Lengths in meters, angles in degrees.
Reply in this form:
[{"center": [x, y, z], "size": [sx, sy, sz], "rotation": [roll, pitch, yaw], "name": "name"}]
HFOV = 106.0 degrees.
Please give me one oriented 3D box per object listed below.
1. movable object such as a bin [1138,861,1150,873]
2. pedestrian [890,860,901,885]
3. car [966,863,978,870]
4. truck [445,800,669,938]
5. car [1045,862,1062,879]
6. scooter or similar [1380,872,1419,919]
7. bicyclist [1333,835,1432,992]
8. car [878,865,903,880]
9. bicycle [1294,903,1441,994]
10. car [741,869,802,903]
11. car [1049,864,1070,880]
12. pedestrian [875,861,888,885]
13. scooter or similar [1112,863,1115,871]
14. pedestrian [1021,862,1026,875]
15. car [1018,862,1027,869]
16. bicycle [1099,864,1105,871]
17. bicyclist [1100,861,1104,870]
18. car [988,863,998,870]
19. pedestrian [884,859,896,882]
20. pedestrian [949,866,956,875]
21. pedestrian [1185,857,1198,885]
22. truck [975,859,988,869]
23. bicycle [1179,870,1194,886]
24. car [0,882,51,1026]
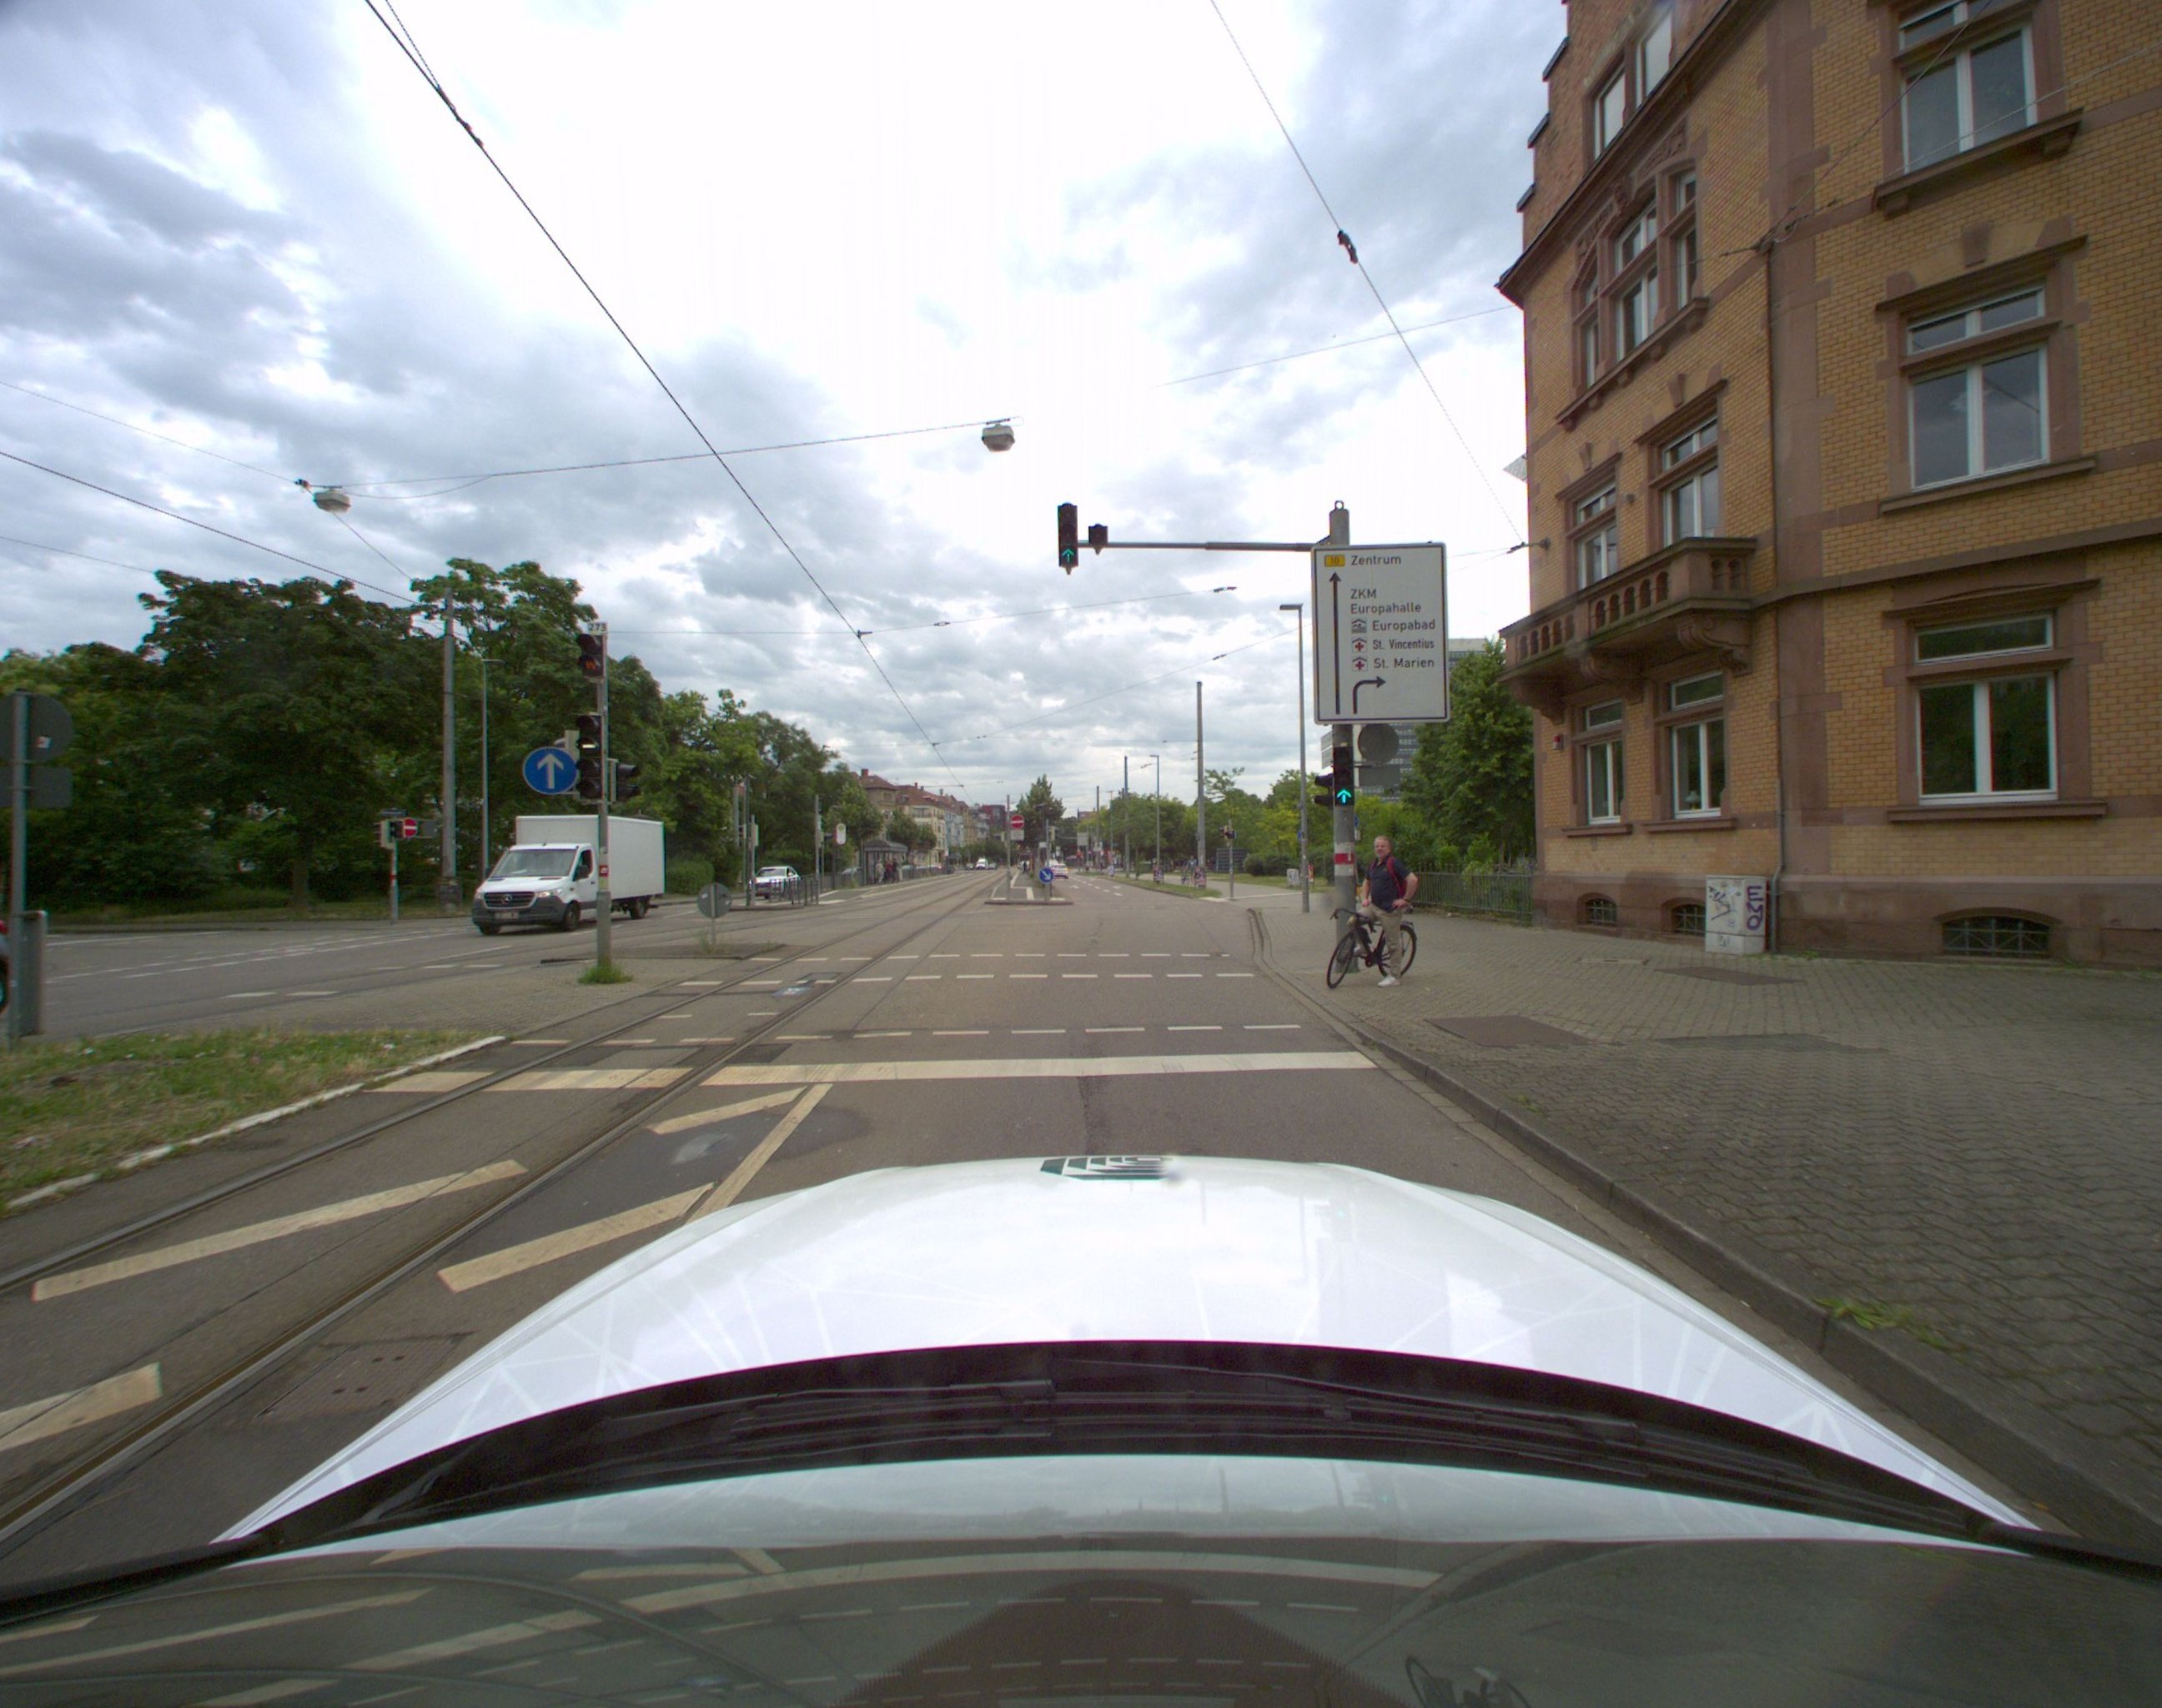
[{"center": [7.443, 1.580, 95.859], "size": [1.279, 1.390, 1.157], "rotation": [0, -1, -4], "name": "movable object such as a bin"}, {"center": [-12.670, 1.253, 55.671], "size": [0.700, 1.715, 0.696], "rotation": [-1, -1, -13], "name": "pedestrian"}, {"center": [-22.346, 2.572, 166.510], "size": [1.763, 1.493, 3.889], "rotation": [-1, -1, 2], "name": "car"}, {"center": [-13.864, 0.391, 22.369], "size": [2.182, 3.157, 7.313], "rotation": [0, -1, -7], "name": "truck"}, {"center": [-3.322, 1.929, 98.268], "size": [1.779, 1.962, 4.375], "rotation": [0, -1, -5], "name": "car"}, {"center": [8.069, 1.032, 20.645], "size": [0.375, 1.141, 1.196], "rotation": [-1, -1, -7], "name": "scooter or similar"}, {"center": [3.645, 0.683, 9.866], "size": [0.685, 1.795, 0.881], "rotation": [0, -1, -36], "name": "bicyclist"}, {"center": [-18.669, 1.813, 80.082], "size": [1.767, 1.493, 3.881], "rotation": [0, -1, -4], "name": "car"}, {"center": [3.538, 1.115, 10.010], "size": [1.876, 0.924, 0.788], "rotation": [0, -1, -37], "name": "bicycle"}, {"center": [-15.829, 1.585, 41.868], "size": [1.768, 1.639, 4.527], "rotation": [0, -1, -6], "name": "car"}, {"center": [-2.124, 1.707, 79.393], "size": [1.780, 1.472, 4.001], "rotation": [0, -1, -6], "name": "car"}, {"center": [-13.717, 1.309, 55.998], "size": [0.673, 1.624, 0.636], "rotation": [-1, -1, 11], "name": "pedestrian"}, {"center": [4.882, 1.985, 121.915], "size": [0.374, 1.141, 1.202], "rotation": [-1, -1, 7], "name": "scooter or similar"}, {"center": [-6.768, 1.709, 96.193], "size": [0.530, 1.558, 0.570], "rotation": [-1, -1, -1], "name": "pedestrian"}, {"center": [-13.957, 2.790, 193.805], "size": [1.764, 1.493, 3.886], "rotation": [-1, -1, 0], "name": "car"}, {"center": [3.281, 2.105, 126.394], "size": [0.677, 1.155, 1.896], "rotation": [-1, 0, -3], "name": "bicycle"}, {"center": [3.263, 1.818, 126.406], "size": [0.677, 1.379, 0.727], "rotation": [-1, -1, -3], "name": "bicyclist"}, {"center": [-20.766, 2.982, 191.476], "size": [1.763, 1.493, 3.889], "rotation": [-1, -1, 2], "name": "car"}, {"center": [-13.860, 1.183, 59.122], "size": [0.768, 1.660, 1.022], "rotation": [-1, -1, -7], "name": "pedestrian"}, {"center": [-17.628, 2.272, 111.855], "size": [0.864, 1.267, 0.692], "rotation": [-1, -1, -7], "name": "pedestrian"}, {"center": [7.269, 1.109, 53.546], "size": [0.738, 1.869, 0.681], "rotation": [-1, -1, -3], "name": "pedestrian"}, {"center": [-21.766, 2.190, 178.413], "size": [1.781, 2.033, 5.398], "rotation": [-1, -1, 2], "name": "truck"}, {"center": [6.930, 1.567, 53.545], "size": [0.653, 1.003, 1.776], "rotation": [-1, -1, -4], "name": "bicycle"}, {"center": [-12.228, 1.048, 7.013], "size": [1.641, 1.534, 4.124], "rotation": [0, -1, -5], "name": "car"}]
